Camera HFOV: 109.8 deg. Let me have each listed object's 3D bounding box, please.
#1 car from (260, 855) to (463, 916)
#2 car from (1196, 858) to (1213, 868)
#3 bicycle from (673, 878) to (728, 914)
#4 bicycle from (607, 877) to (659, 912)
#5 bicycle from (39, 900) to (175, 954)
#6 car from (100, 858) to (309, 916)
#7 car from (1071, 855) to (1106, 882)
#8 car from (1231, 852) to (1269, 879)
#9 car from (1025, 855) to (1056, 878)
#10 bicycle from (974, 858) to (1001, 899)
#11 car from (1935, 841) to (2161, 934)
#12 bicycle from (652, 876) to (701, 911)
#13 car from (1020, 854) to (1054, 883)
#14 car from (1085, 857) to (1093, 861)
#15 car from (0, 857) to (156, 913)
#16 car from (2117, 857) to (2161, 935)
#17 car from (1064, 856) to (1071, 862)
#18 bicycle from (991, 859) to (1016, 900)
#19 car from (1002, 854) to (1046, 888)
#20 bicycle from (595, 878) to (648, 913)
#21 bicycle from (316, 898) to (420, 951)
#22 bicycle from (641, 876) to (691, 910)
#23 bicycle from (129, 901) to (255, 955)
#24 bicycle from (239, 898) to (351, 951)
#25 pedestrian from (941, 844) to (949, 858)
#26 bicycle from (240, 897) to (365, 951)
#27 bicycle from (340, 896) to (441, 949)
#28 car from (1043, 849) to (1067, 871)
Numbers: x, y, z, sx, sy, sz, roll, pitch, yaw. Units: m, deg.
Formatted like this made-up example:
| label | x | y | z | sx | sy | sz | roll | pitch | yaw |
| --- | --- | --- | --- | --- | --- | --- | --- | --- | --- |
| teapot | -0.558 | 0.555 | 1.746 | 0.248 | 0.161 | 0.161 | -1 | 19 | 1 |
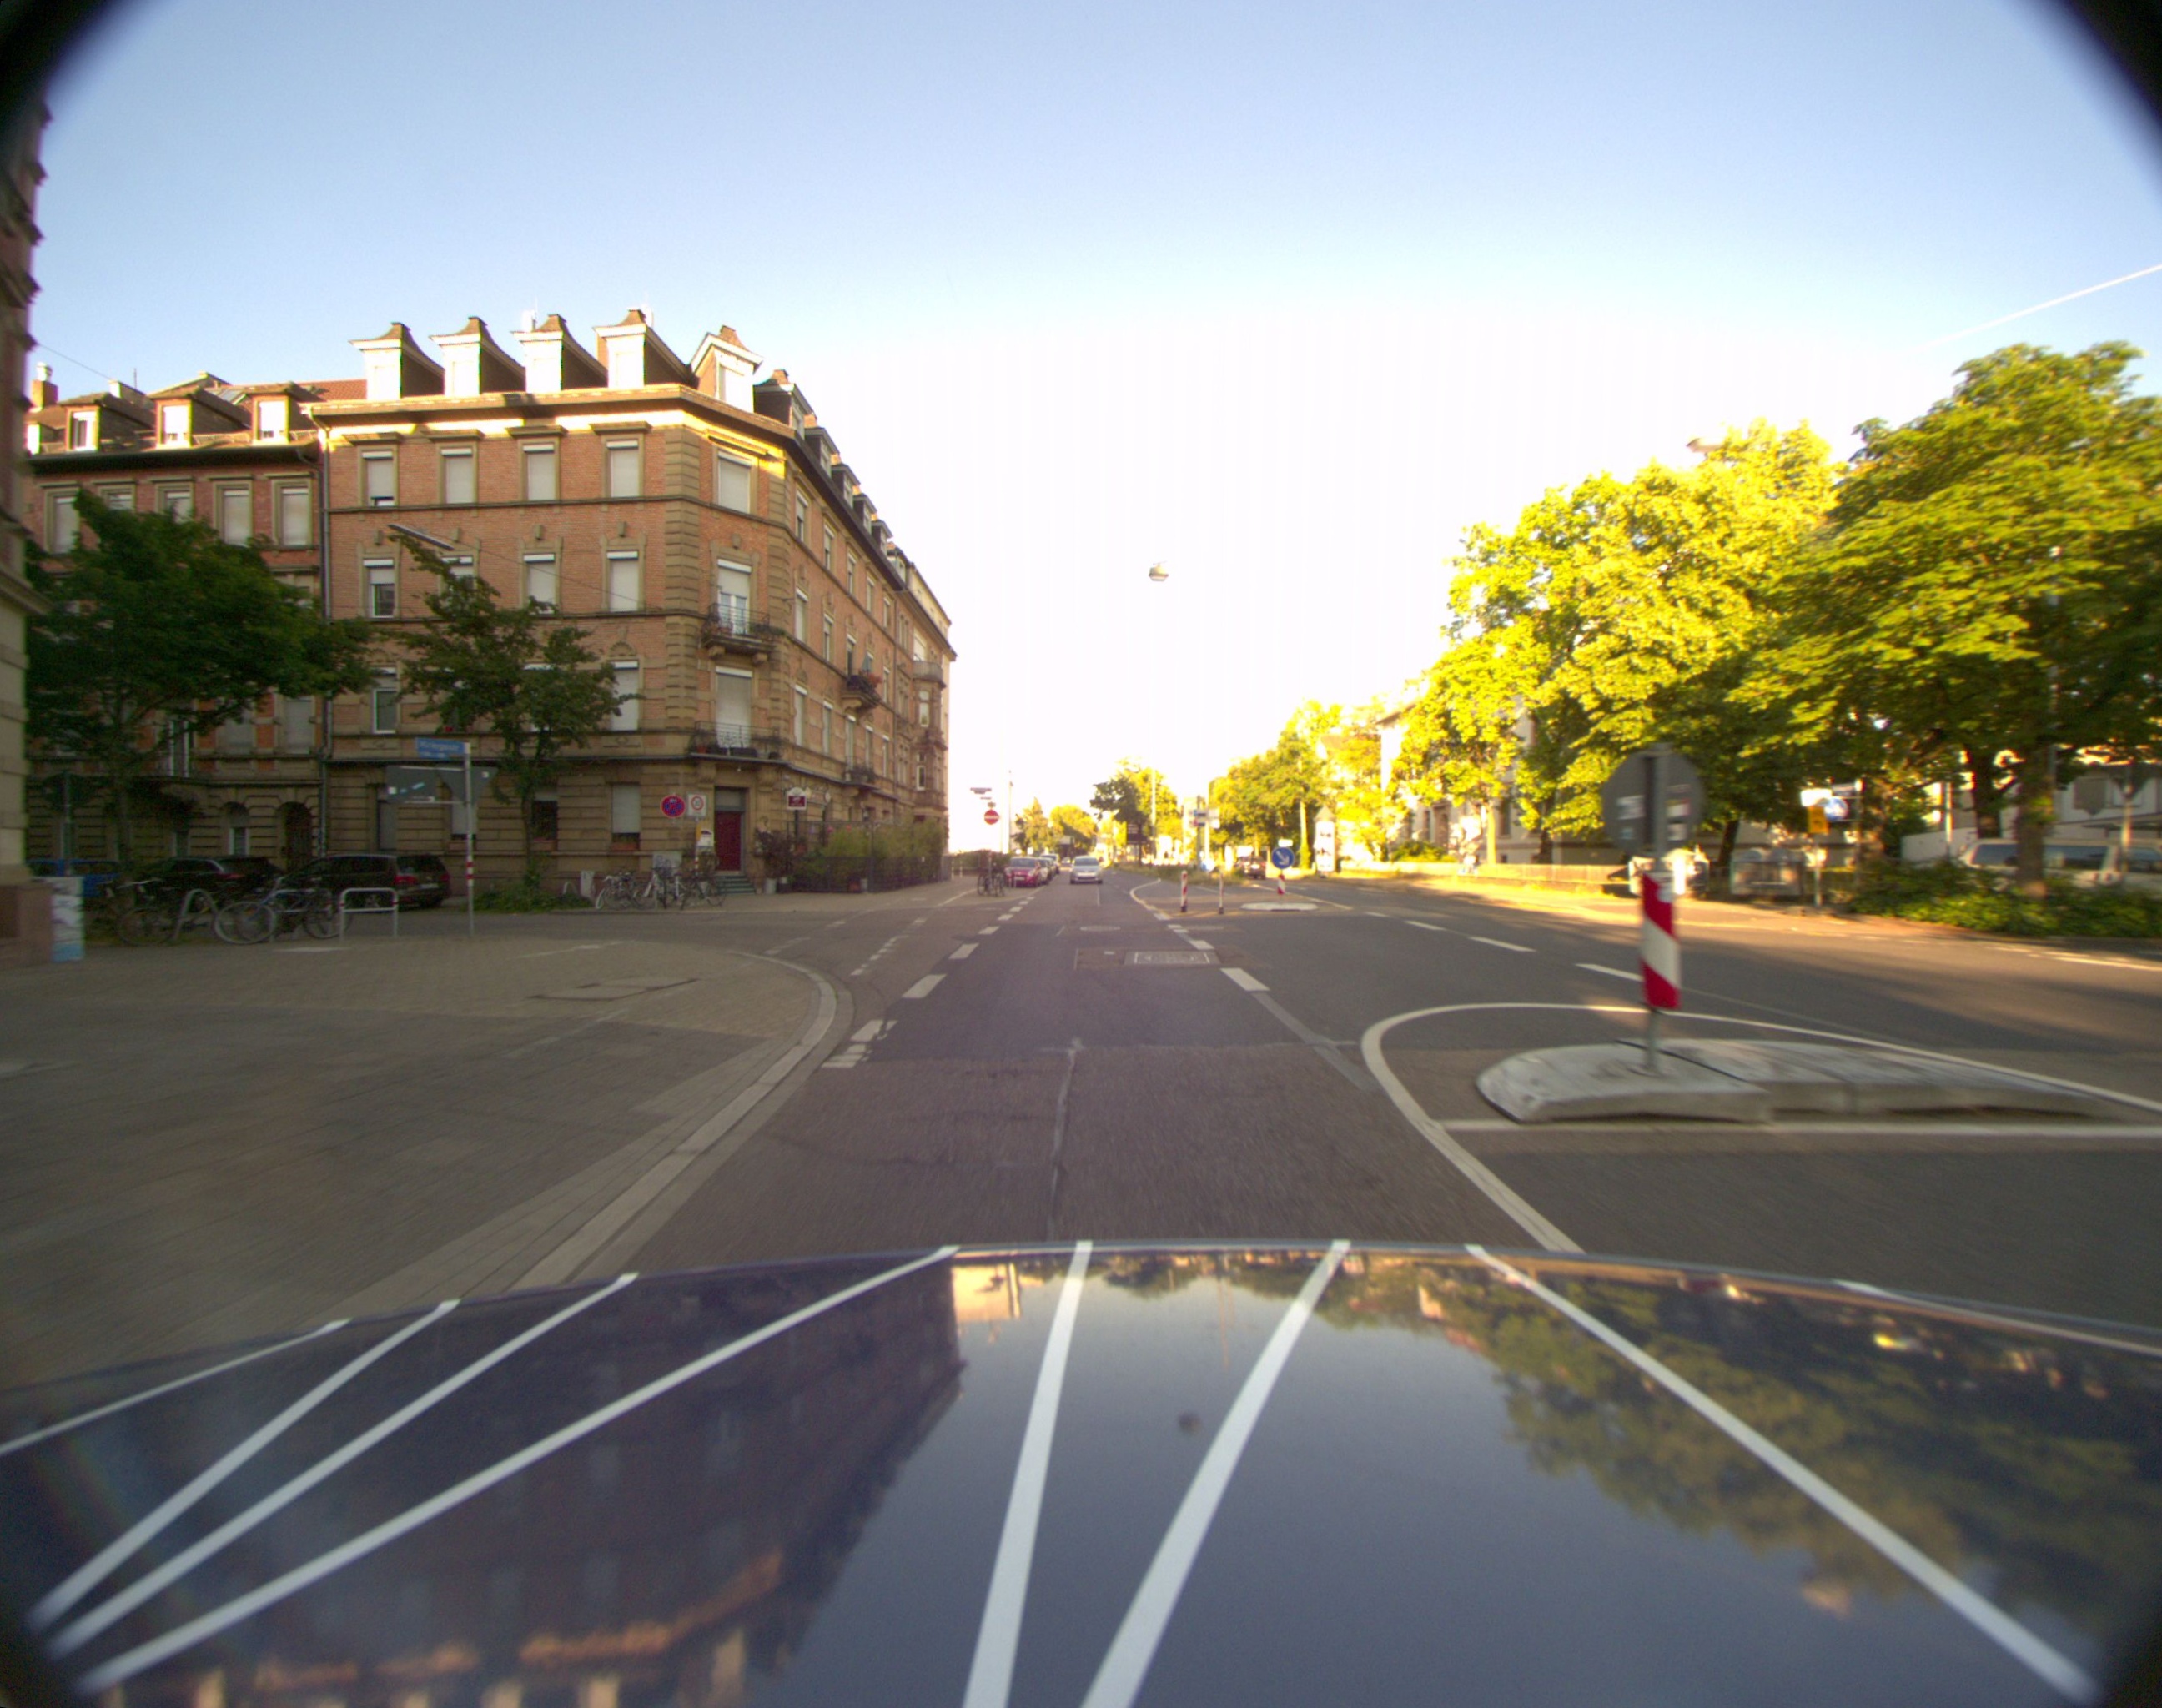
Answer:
| label | x | y | z | sx | sy | sz | roll | pitch | yaw |
| --- | --- | --- | --- | --- | --- | --- | --- | --- | --- |
| car | -19.791 | 0.844 | 21.004 | 3.995 | 1.597 | 1.849 | 0 | 0 | 5 |
| car | 17.818 | 1.251 | 110.033 | 1.778 | 1.266 | 4.007 | 3 | 0 | 0 |
| bicycle | -10.121 | 1.099 | 20.270 | 0.295 | 0.812 | 1.735 | -2 | 2 | 10 |
| bicycle | -12.210 | 1.102 | 20.745 | 0.295 | 0.812 | 1.498 | -2 | 2 | 10 |
| bicycle | -16.141 | 1.193 | 12.645 | 0.295 | 0.812 | 1.498 | -2 | -3 | 1 |
| car | -24.653 | 0.905 | 21.458 | 3.995 | 1.514 | 1.849 | 0 | 0 | 5 |
| car | 0.377 | 0.797 | 42.540 | 1.895 | 1.455 | 3.965 | 0 | 0 | 0 |
| car | 11.649 | 0.785 | 52.663 | 1.880 | 1.696 | 4.568 | 2 | 1 | 4 |
| car | -2.697 | 0.811 | 51.759 | 1.892 | 1.439 | 4.463 | 3 | 0 | -1 |
| bicycle | -3.304 | 0.840 | 26.987 | 0.567 | 1.268 | 2.264 | 4 | 2 | 0 |
| car | 21.936 | 0.633 | 16.711 | 1.823 | 1.784 | 4.000 | -1 | 0 | 0 |
| bicycle | -11.047 | 1.072 | 20.787 | 0.295 | 0.812 | 1.498 | -2 | 2 | 10 |
| car | -2.375 | 0.768 | 41.605 | 1.681 | 1.418 | 3.676 | 3 | 0 | -1 |
| car | 2.027 | 1.310 | 200.202 | 1.948 | 1.258 | 4.163 | 0 | 0 | -1 |
| car | -29.792 | 0.868 | 22.007 | 3.995 | 1.514 | 1.849 | 0 | 0 | 5 |
| car | 24.386 | 0.900 | 15.165 | 1.998 | 1.652 | 4.000 | -1 | 0 | 0 |
| car | -3.566 | 1.392 | 202.261 | 1.948 | 1.514 | 4.163 | 0 | 0 | -1 |
| bicycle | -2.725 | 0.891 | 26.994 | 0.567 | 1.292 | 2.264 | 4 | 2 | 0 |
| car | -2.715 | 0.786 | 36.953 | 1.730 | 1.456 | 3.547 | 3 | 0 | 2 |
| bicycle | -12.532 | 1.117 | 20.777 | 0.295 | 0.812 | 1.498 | -2 | 2 | 10 |
| bicycle | -11.830 | 1.142 | 12.656 | 0.292 | 0.812 | 1.498 | -2 | -3 | 1 |
| bicycle | -11.361 | 1.056 | 20.830 | 0.295 | 0.812 | 1.498 | -2 | 2 | 10 |
| bicycle | -14.661 | 1.195 | 12.583 | 0.295 | 0.812 | 1.498 | -2 | -3 | 1 |
| bicycle | -13.142 | 1.155 | 12.761 | 0.295 | 0.812 | 1.498 | -2 | -3 | 1 |
| pedestrian | -8.465 | -0.205 | 47.153 | 0.309 | 0.865 | 0.320 | -2 | 1 | 33 |
| bicycle | -12.727 | 1.121 | 12.483 | 0.295 | 0.812 | 1.499 | -3 | -3 | 13 |
| bicycle | -11.464 | 1.124 | 12.675 | 0.292 | 0.812 | 1.498 | -2 | -3 | 1 |
| car | -2.474 | 0.537 | 72.692 | 1.892 | 1.907 | 5.179 | 3 | 0 | 2 |
